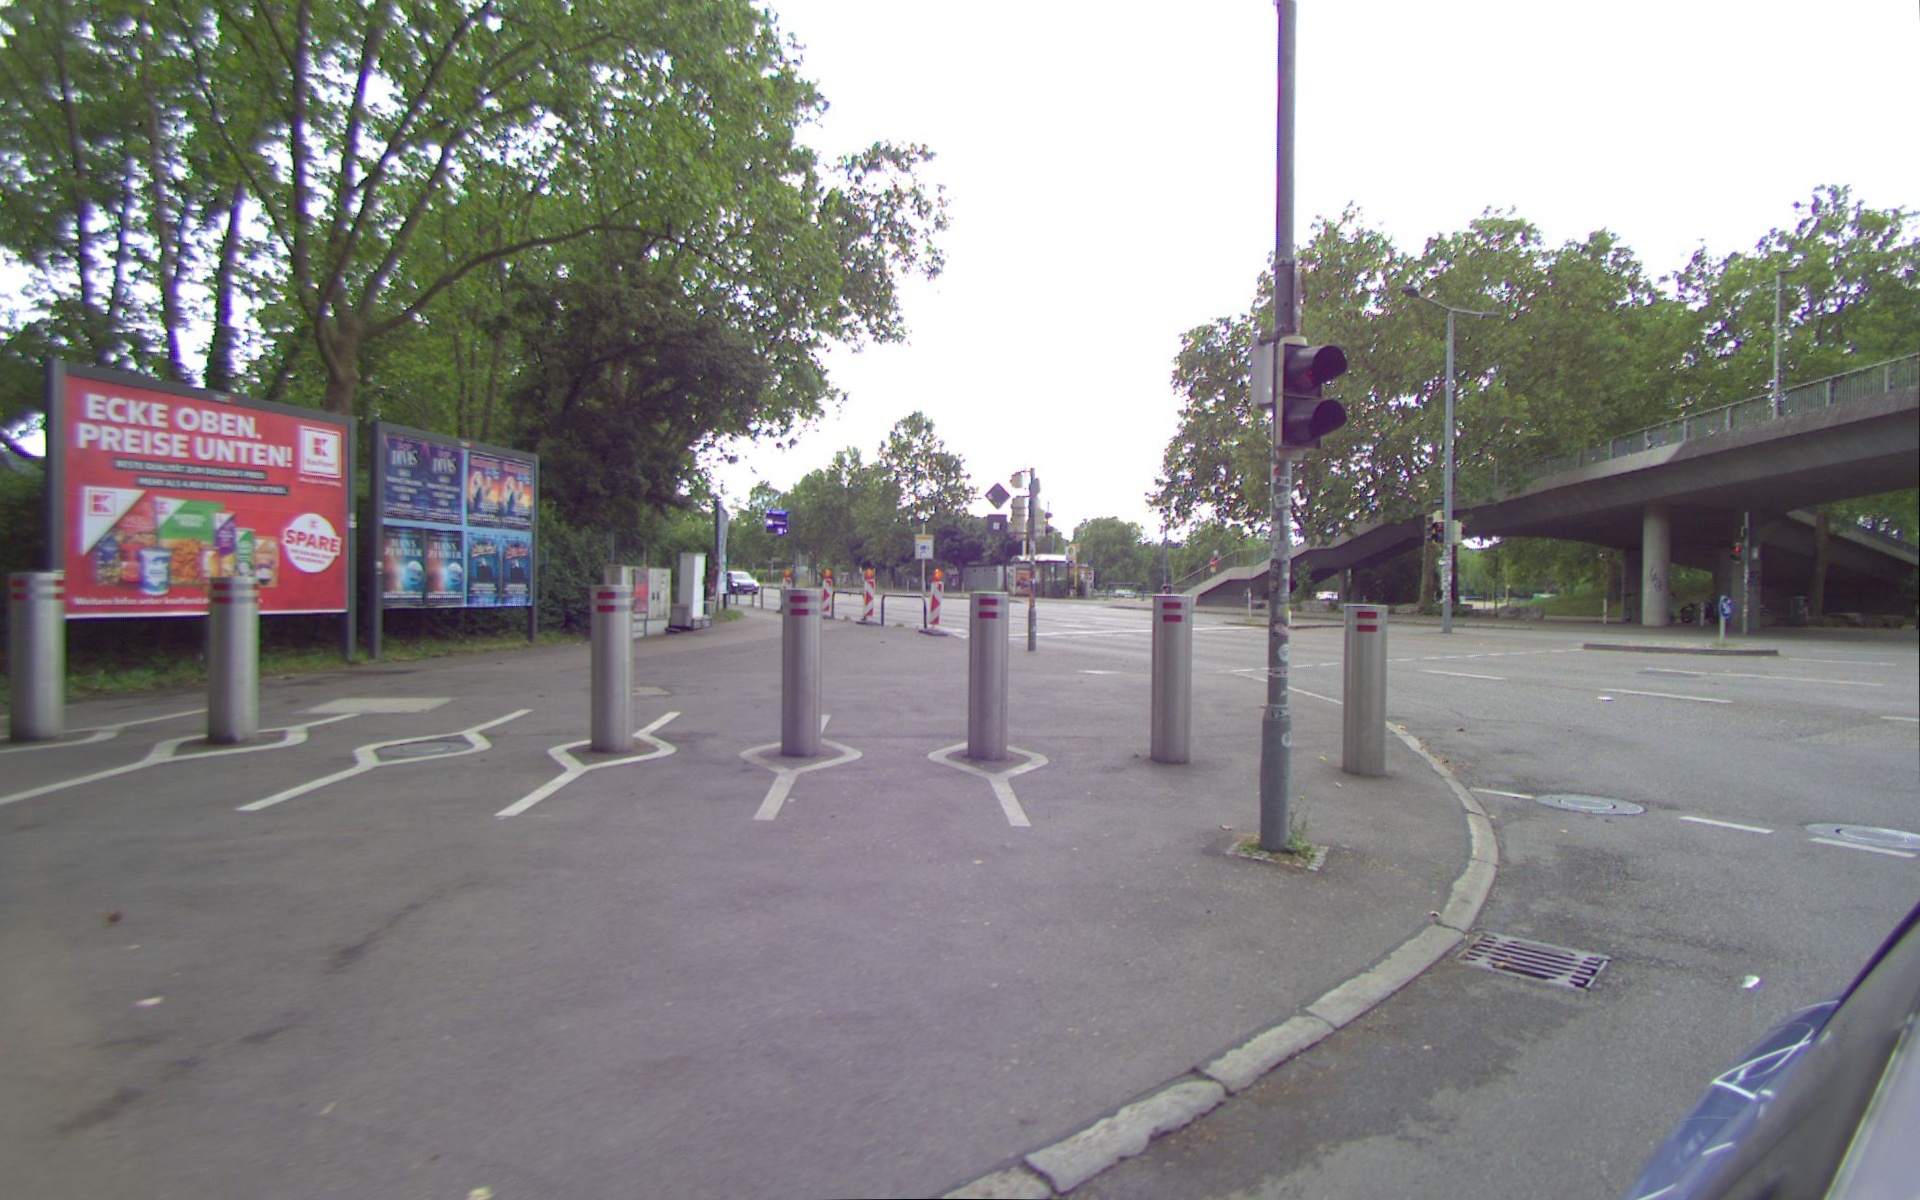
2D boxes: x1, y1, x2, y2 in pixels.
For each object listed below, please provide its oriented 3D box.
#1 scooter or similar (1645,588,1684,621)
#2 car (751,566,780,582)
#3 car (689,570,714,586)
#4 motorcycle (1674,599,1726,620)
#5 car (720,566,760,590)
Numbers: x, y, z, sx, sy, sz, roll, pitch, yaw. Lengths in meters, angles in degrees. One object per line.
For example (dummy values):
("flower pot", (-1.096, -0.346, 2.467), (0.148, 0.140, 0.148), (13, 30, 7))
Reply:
("scooter or similar", (29.683, 0.186, 42.651), (0.408, 1.334, 1.230), (2, 3, -26))
("car", (-26.134, -3.490, 135.823), (2.346, 2.039, 4.642), (1, 1, -30))
("car", (-27.773, -2.345, 108.661), (1.739, 1.626, 4.435), (0, 1, -27))
("motorcycle", (32.328, 0.410, 44.246), (0.636, 0.862, 1.741), (1, 1, -20))
("car", (-14.678, -1.481, 67.407), (1.763, 1.529, 4.007), (0, 1, -26))
